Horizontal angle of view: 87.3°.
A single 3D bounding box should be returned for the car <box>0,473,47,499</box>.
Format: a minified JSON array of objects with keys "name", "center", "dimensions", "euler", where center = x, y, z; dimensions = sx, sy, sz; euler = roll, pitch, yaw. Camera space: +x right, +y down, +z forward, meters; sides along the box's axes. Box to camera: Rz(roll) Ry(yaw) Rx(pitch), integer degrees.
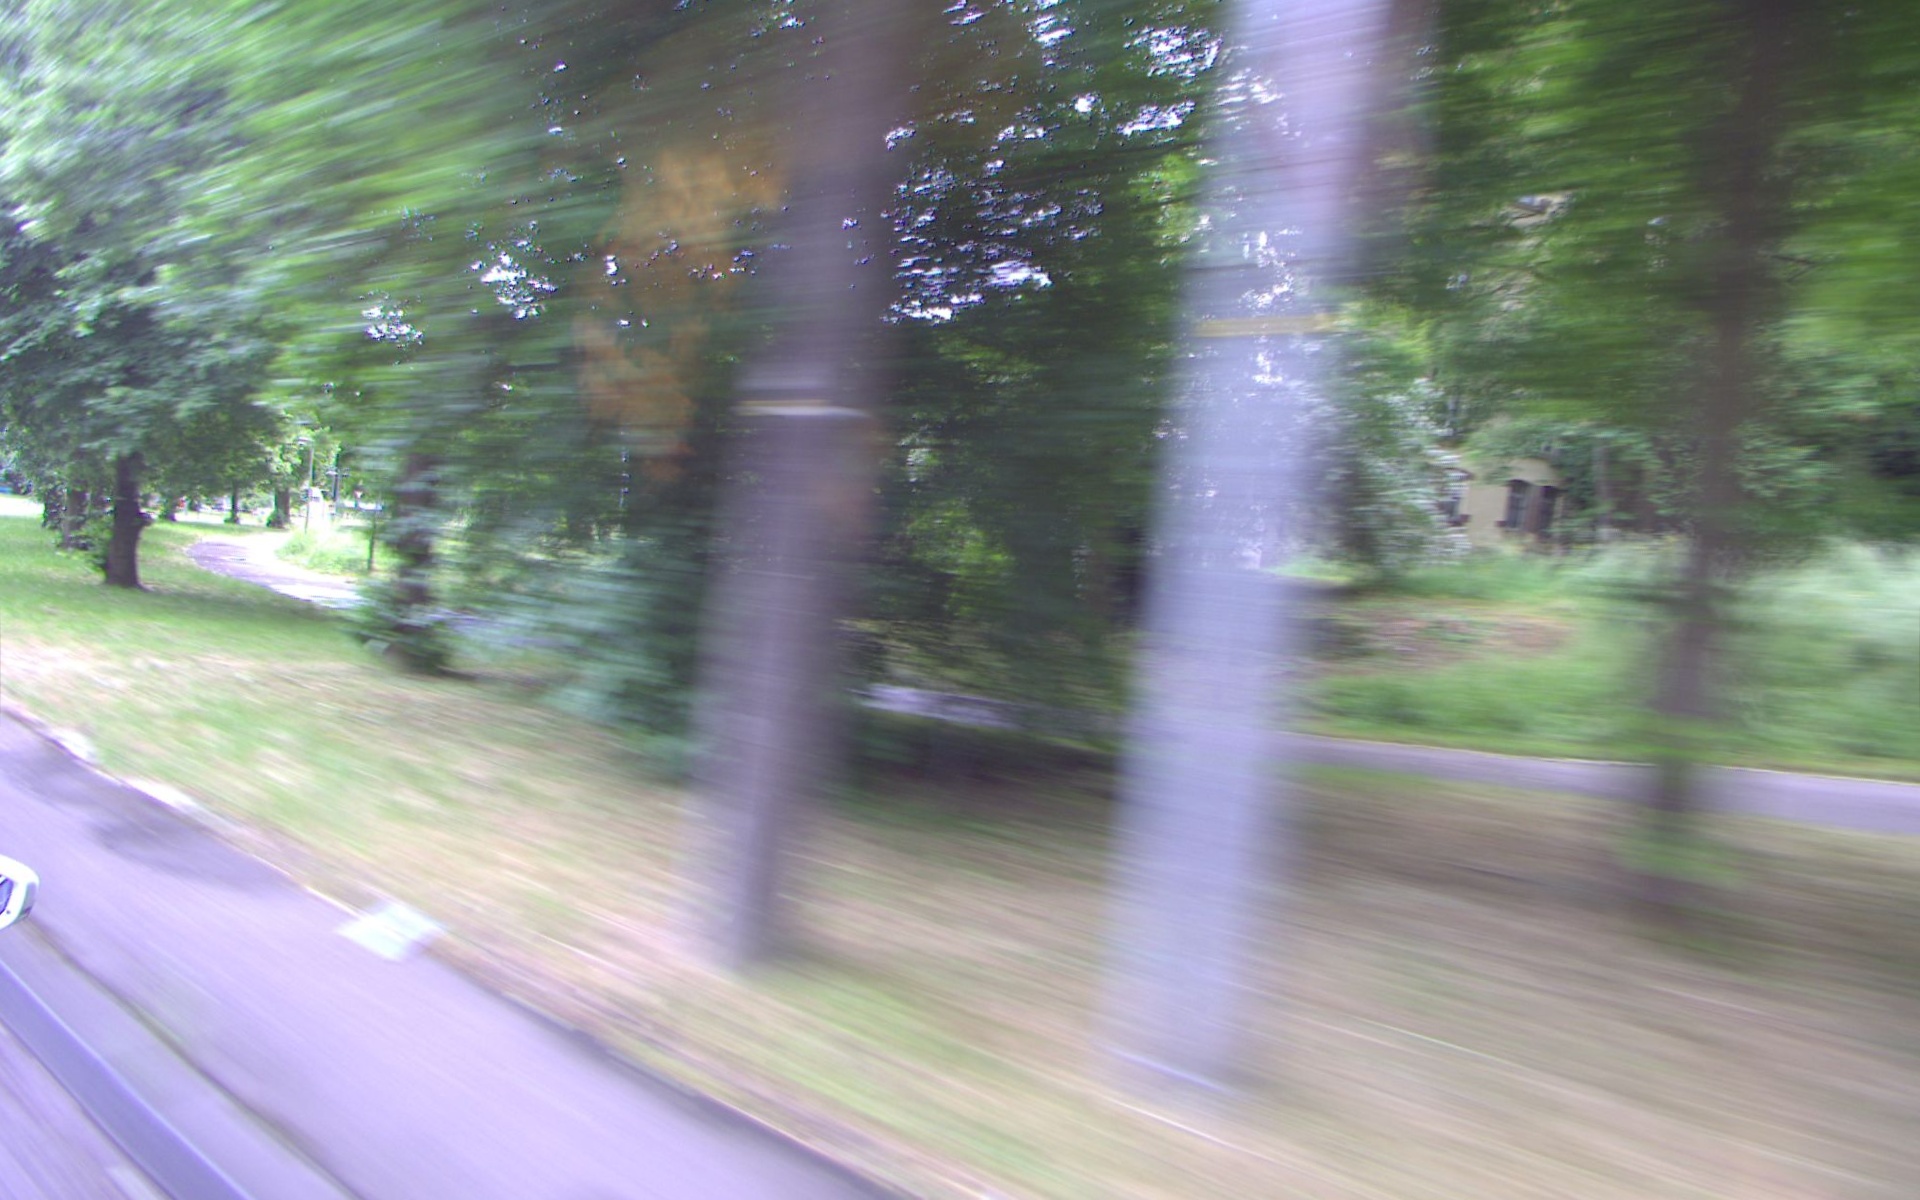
[{"name":"car","center":[-71.045,-8.581,75.430],"dimensions":[1.968,1.639,4.432],"euler":[4,2,-15]}]
